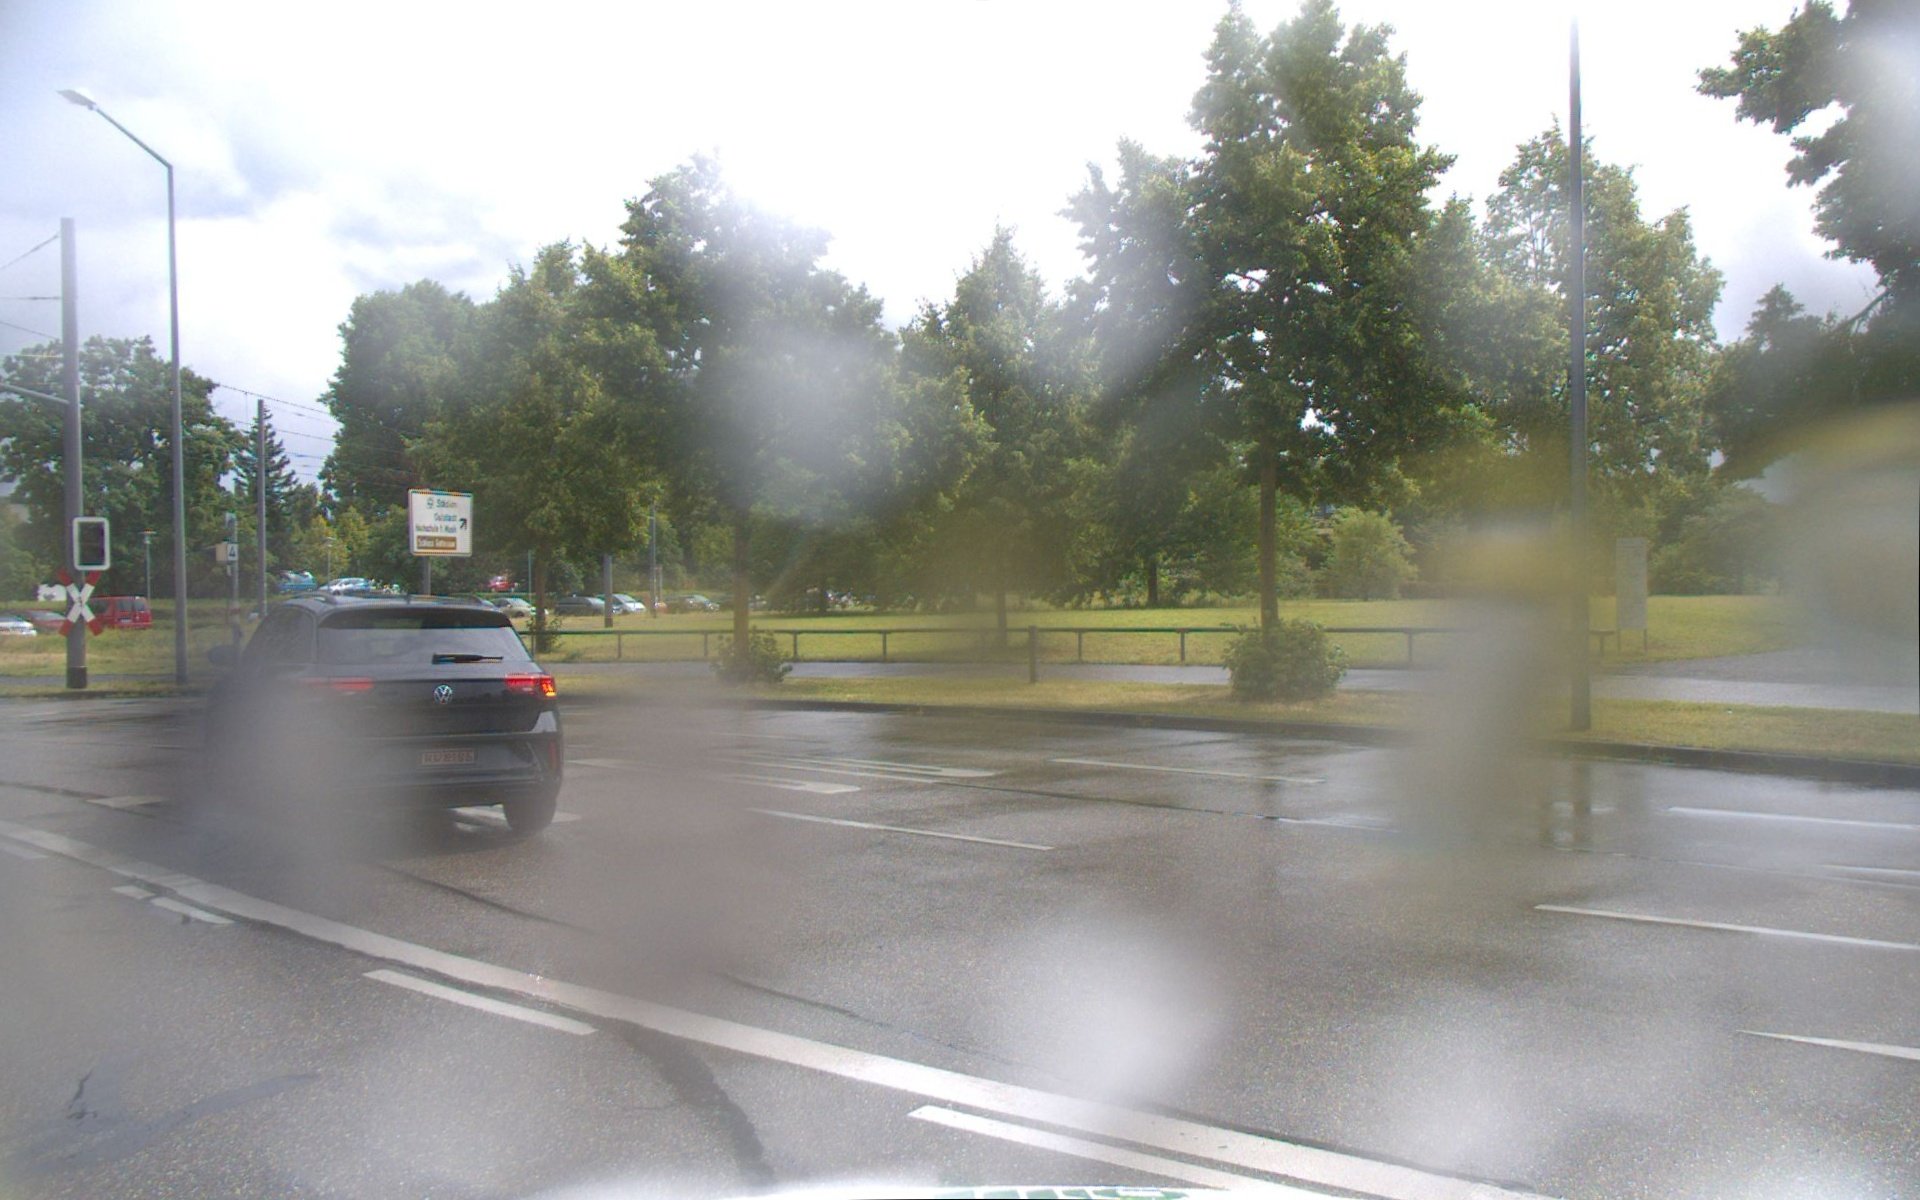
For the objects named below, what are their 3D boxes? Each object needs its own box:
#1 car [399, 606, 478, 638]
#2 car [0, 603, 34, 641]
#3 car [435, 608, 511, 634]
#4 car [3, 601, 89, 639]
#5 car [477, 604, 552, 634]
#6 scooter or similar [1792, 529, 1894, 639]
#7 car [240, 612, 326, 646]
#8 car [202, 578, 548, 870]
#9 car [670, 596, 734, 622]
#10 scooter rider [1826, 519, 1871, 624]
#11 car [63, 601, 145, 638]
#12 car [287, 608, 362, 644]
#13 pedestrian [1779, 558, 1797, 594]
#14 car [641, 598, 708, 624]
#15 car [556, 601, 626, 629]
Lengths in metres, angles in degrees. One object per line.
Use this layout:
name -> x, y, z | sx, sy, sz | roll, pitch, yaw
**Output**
car -> -27.999, 1.198, 88.792 | 3.891, 1.587, 1.847 | -1, 0, 29
car -> -39.400, 0.909, 67.160 | 3.533, 1.487, 1.641 | -1, 0, 32
car -> -26.880, 1.168, 91.286 | 3.891, 1.331, 1.847 | -1, 0, 29
car -> -38.407, 0.841, 69.503 | 3.533, 1.487, 1.641 | -1, 0, 32
car -> -25.220, 1.055, 93.529 | 3.891, 1.587, 1.847 | -1, 0, 29
scooter or similar -> 17.376, -0.265, 32.504 | 1.216, 2.049, 3.393 | -1, -1, 38
car -> -32.863, 1.410, 80.299 | 3.911, 1.554, 1.796 | -1, 0, 29
car -> -3.931, 0.717, 11.525 | 1.867, 1.646, 3.981 | 1, 0, -17
car -> -17.083, 0.620, 109.508 | 3.891, 1.587, 1.847 | -1, 0, 29
scooter rider -> 17.681, -0.546, 32.901 | 0.692, 2.049, 0.767 | -1, -2, 35
car -> -37.094, 0.849, 71.661 | 3.575, 1.536, 1.645 | -1, 1, 35
car -> -31.663, 1.318, 82.336 | 3.548, 1.689, 1.548 | -1, 0, 29
pedestrian -> 41.707, -1.204, 83.324 | 0.594, 1.762, 0.596 | 1, -1, -19
car -> -18.308, 0.695, 106.115 | 3.891, 1.587, 1.847 | -1, 0, 29
car -> -22.214, 0.897, 99.596 | 3.891, 1.587, 1.847 | -1, 0, 29
